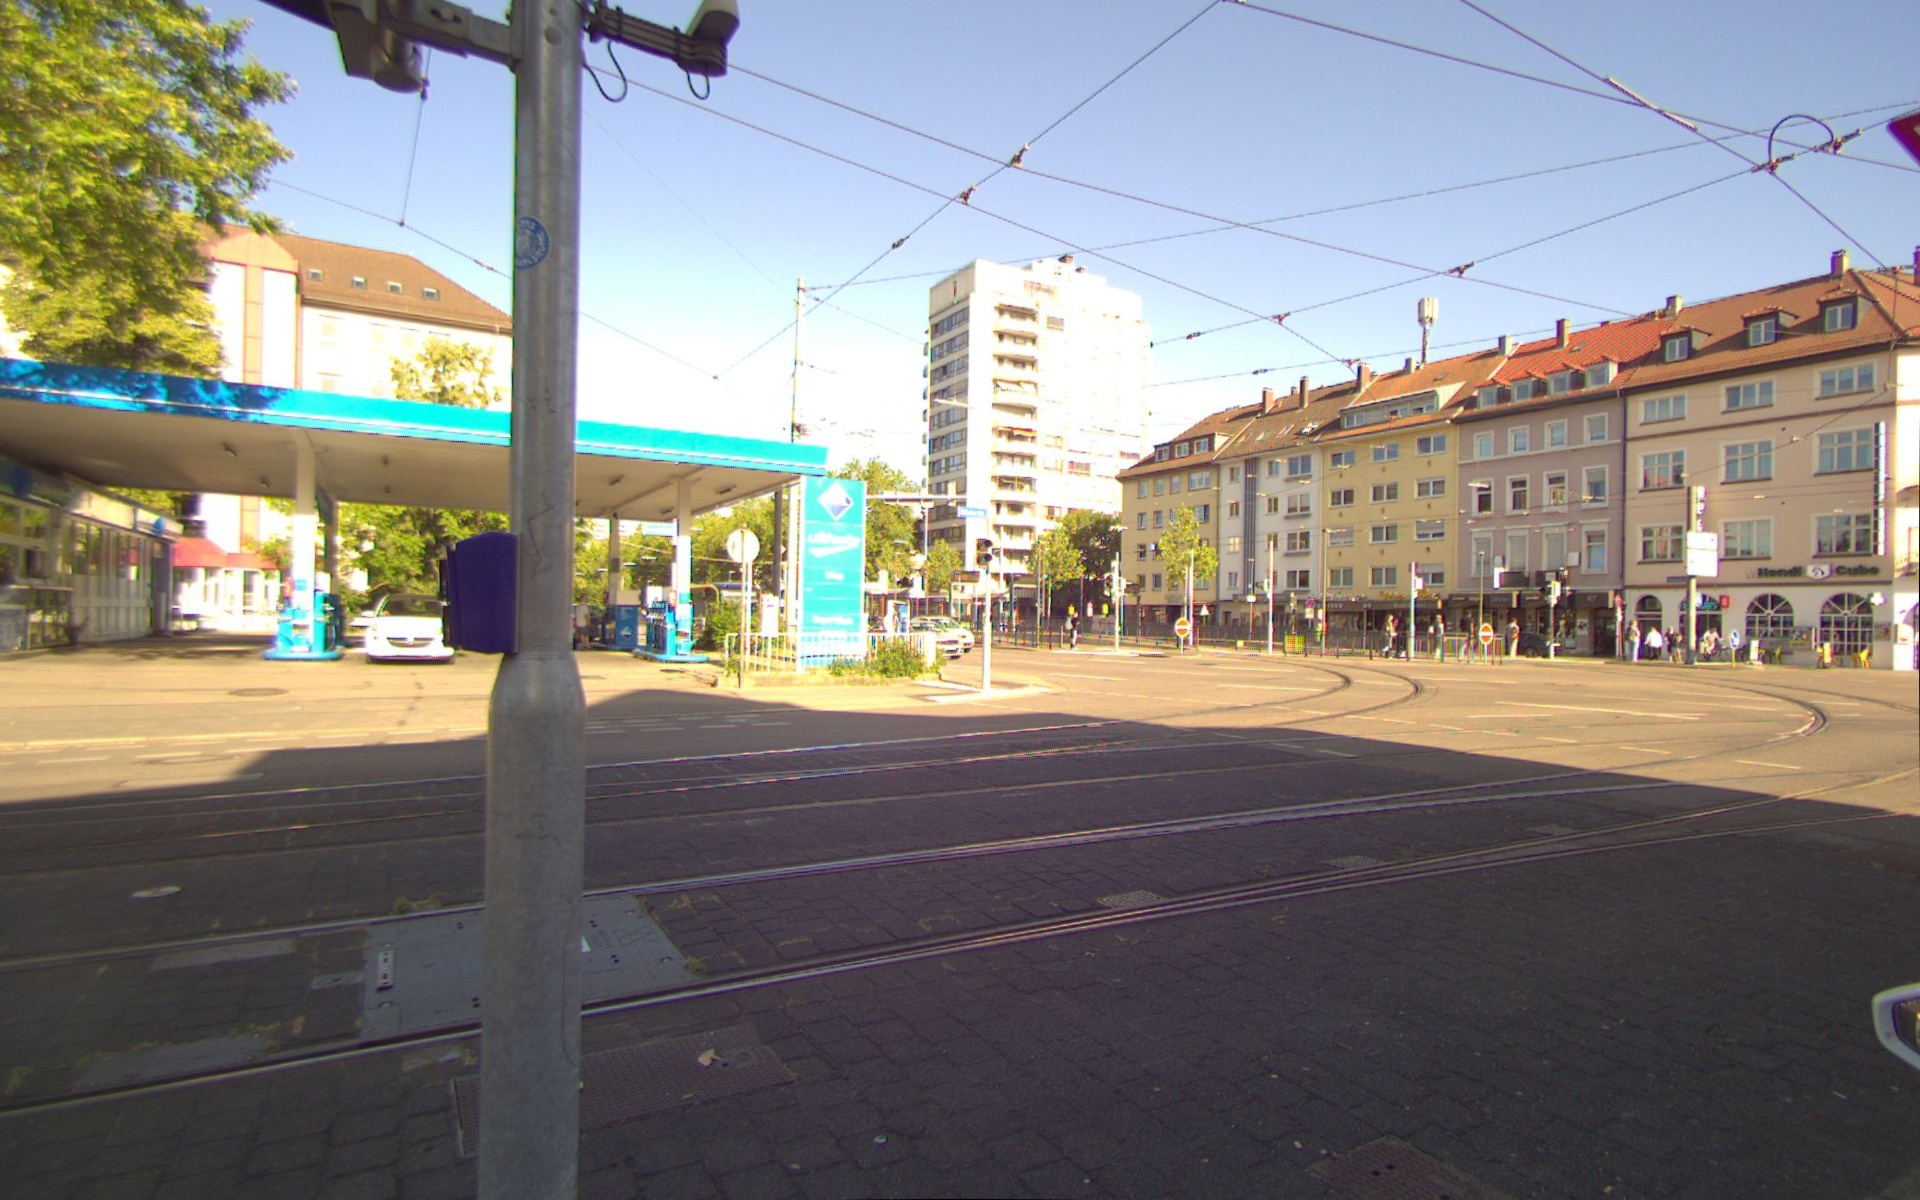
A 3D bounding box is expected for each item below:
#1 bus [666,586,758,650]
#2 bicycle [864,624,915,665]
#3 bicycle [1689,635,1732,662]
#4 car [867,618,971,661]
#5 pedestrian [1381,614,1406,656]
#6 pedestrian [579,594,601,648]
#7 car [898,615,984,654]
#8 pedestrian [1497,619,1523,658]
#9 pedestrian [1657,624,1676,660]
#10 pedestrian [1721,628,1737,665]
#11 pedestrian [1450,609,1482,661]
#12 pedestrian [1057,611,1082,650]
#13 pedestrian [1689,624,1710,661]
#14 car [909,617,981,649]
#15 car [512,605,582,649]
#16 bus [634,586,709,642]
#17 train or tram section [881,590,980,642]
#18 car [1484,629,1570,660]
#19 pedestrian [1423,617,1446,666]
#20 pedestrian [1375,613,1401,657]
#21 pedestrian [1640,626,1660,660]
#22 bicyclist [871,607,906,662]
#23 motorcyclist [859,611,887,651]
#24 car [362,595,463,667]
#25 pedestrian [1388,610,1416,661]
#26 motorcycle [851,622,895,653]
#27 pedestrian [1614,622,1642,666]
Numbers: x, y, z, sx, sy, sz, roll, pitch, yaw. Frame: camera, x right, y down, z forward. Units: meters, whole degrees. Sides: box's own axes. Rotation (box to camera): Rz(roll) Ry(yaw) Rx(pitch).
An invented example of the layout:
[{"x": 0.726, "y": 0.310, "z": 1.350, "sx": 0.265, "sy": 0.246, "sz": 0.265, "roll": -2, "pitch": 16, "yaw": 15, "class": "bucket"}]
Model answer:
[{"x": -14.934, "y": 0.949, "z": 59.775, "sx": 2.748, "sy": 3.504, "sz": 9.364, "roll": 0, "pitch": 1, "yaw": -31, "class": "bus"}, {"x": -2.295, "y": 1.416, "z": 32.375, "sx": 0.736, "sy": 1.239, "sz": 1.909, "roll": 1, "pitch": -1, "yaw": -37, "class": "bicycle"}, {"x": 37.837, "y": 2.451, "z": 50.643, "sx": 1.693, "sy": 1.293, "sz": 0.385, "roll": 0, "pitch": -1, "yaw": 44, "class": "bicycle"}, {"x": -1.551, "y": 1.428, "z": 36.707, "sx": 1.725, "sy": 1.459, "sz": 4.239, "roll": 2, "pitch": -2, "yaw": -36, "class": "car"}, {"x": 16.909, "y": 1.356, "z": 39.193, "sx": 0.553, "sy": 1.602, "sz": 0.695, "roll": 1, "pitch": -1, "yaw": -30, "class": "pedestrian"}, {"x": -11.829, "y": 0.678, "z": 32.121, "sx": 0.579, "sy": 1.715, "sz": 0.756, "roll": 1, "pitch": -1, "yaw": -25, "class": "pedestrian"}, {"x": -0.850, "y": 1.429, "z": 42.416, "sx": 1.724, "sy": 1.518, "sz": 3.929, "roll": 1, "pitch": -1, "yaw": -35, "class": "car"}, {"x": 24.181, "y": 1.681, "z": 44.151, "sx": 0.621, "sy": 1.704, "sz": 0.763, "roll": 1, "pitch": -1, "yaw": -30, "class": "pedestrian"}, {"x": 33.902, "y": 2.025, "z": 48.177, "sx": 0.731, "sy": 1.704, "sz": 0.626, "roll": 0, "pitch": -1, "yaw": 35, "class": "pedestrian"}, {"x": 26.938, "y": 1.630, "z": 35.170, "sx": 0.447, "sy": 1.270, "sz": 0.361, "roll": 1, "pitch": -1, "yaw": -41, "class": "pedestrian"}, {"x": 18.315, "y": 1.273, "z": 36.346, "sx": 0.714, "sy": 1.853, "sz": 0.763, "roll": 1, "pitch": -1, "yaw": -30, "class": "pedestrian"}, {"x": 4.753, "y": 1.322, "z": 43.651, "sx": 0.788, "sy": 1.632, "sz": 0.766, "roll": 1, "pitch": -1, "yaw": -36, "class": "pedestrian"}, {"x": 34.532, "y": 1.985, "z": 46.909, "sx": 0.731, "sy": 1.704, "sz": 0.626, "roll": 0, "pitch": -1, "yaw": 35, "class": "pedestrian"}, {"x": -0.775, "y": 1.534, "z": 47.870, "sx": 1.697, "sy": 1.439, "sz": 4.149, "roll": 1, "pitch": -1, "yaw": -28, "class": "car"}, {"x": -13.578, "y": 0.857, "z": 32.879, "sx": 1.697, "sy": 1.360, "sz": 3.970, "roll": 1, "pitch": -1, "yaw": -28, "class": "car"}, {"x": -19.495, "y": 0.837, "z": 67.488, "sx": 2.755, "sy": 3.504, "sz": 8.571, "roll": 0, "pitch": 1, "yaw": -30, "class": "bus"}, {"x": -2.670, "y": 1.235, "z": 83.016, "sx": 2.926, "sy": 3.986, "sz": 11.589, "roll": 2, "pitch": 0, "yaw": -30, "class": "train or tram section"}, {"x": 30.888, "y": 2.405, "z": 54.853, "sx": 1.795, "sy": 1.511, "sz": 3.715, "roll": 2, "pitch": 0, "yaw": -27, "class": "car"}, {"x": 17.906, "y": 1.566, "z": 37.887, "sx": 0.553, "sy": 1.810, "sz": 0.557, "roll": 1, "pitch": -1, "yaw": -30, "class": "pedestrian"}, {"x": 16.295, "y": 1.335, "z": 38.254, "sx": 0.565, "sy": 1.657, "sz": 0.737, "roll": 1, "pitch": -1, "yaw": -30, "class": "pedestrian"}, {"x": 35.658, "y": 2.218, "z": 51.915, "sx": 0.623, "sy": 1.704, "sz": 0.734, "roll": 1, "pitch": -1, "yaw": -41, "class": "pedestrian"}, {"x": -2.293, "y": 1.104, "z": 32.364, "sx": 0.727, "sy": 1.735, "sz": 0.932, "roll": 1, "pitch": -1, "yaw": -37, "class": "bicyclist"}, {"x": -3.636, "y": 1.294, "z": 42.058, "sx": 0.810, "sy": 1.642, "sz": 0.824, "roll": 2, "pitch": 0, "yaw": -41, "class": "motorcyclist"}, {"x": -12.358, "y": 0.670, "z": 22.558, "sx": 1.793, "sy": 1.461, "sz": 3.966, "roll": 1, "pitch": -1, "yaw": -31, "class": "car"}, {"x": 16.363, "y": 1.307, "z": 37.208, "sx": 0.769, "sy": 1.874, "sz": 0.625, "roll": 1, "pitch": -1, "yaw": -30, "class": "pedestrian"}, {"x": -3.650, "y": 1.546, "z": 42.057, "sx": 0.689, "sy": 1.244, "sz": 2.186, "roll": 1, "pitch": -1, "yaw": -40, "class": "motorcycle"}, {"x": 26.434, "y": 1.730, "z": 39.739, "sx": 0.621, "sy": 1.704, "sz": 0.737, "roll": 1, "pitch": -1, "yaw": -30, "class": "pedestrian"}]
